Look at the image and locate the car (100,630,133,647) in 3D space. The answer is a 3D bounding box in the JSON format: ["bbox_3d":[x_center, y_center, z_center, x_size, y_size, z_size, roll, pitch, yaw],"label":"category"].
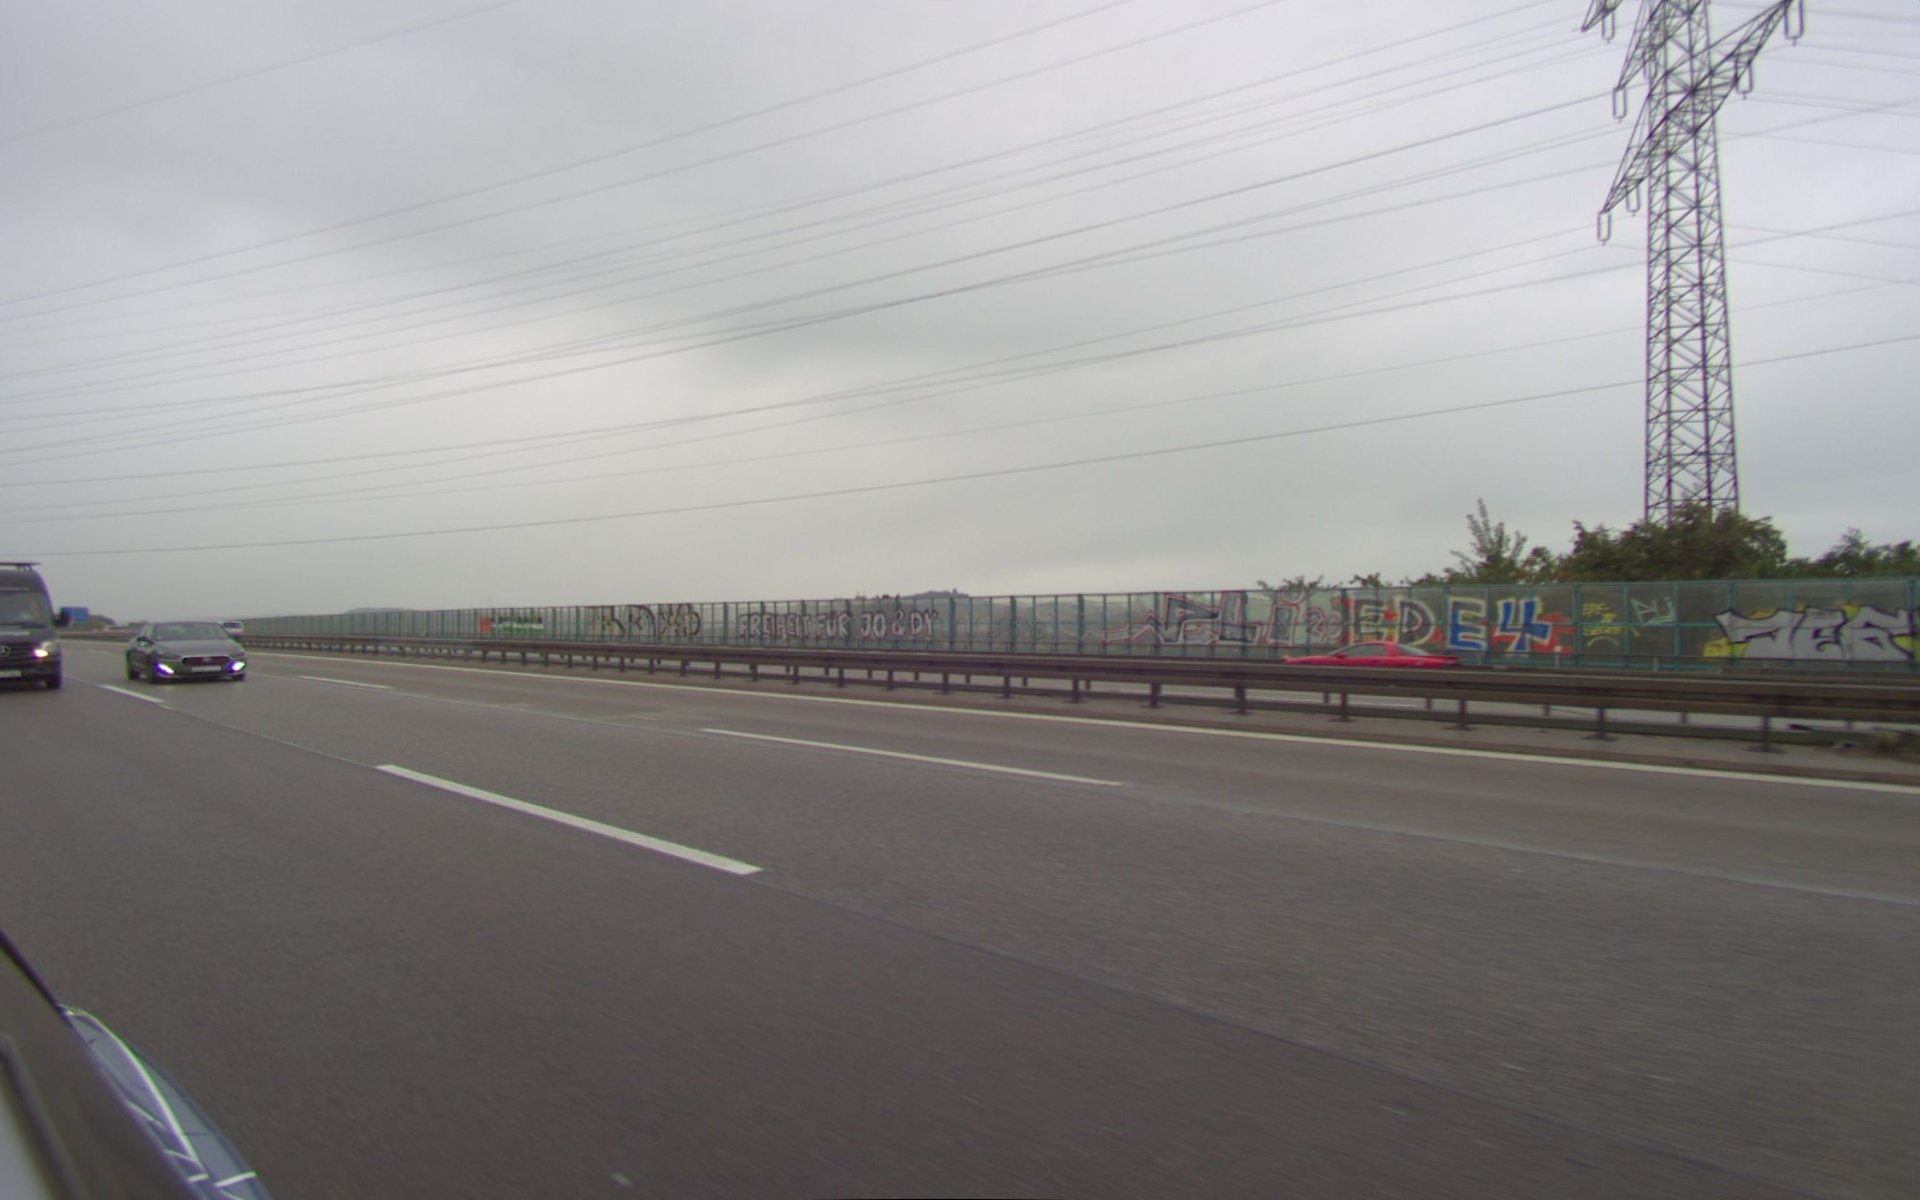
[{"bbox_3d":[-84.251,3.798,101.049,4.213,1.569,1.972,-1,0,42],"label":"car"}]

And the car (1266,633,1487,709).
[{"bbox_3d":[11.047,1.819,27.076,5.104,1.797,1.973,-1,-2,41],"label":"car"}]

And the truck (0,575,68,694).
[{"bbox_3d":[-21.173,0.682,21.892,6.107,2.355,1.973,0,-1,41],"label":"truck"}]

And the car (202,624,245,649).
[{"bbox_3d":[-63.988,3.105,87.868,5.009,2.029,1.973,-1,0,41],"label":"car"}]

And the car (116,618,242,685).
[{"bbox_3d":[-18.616,1.195,24.039,4.830,1.413,1.706,-3,-2,44],"label":"car"}]
